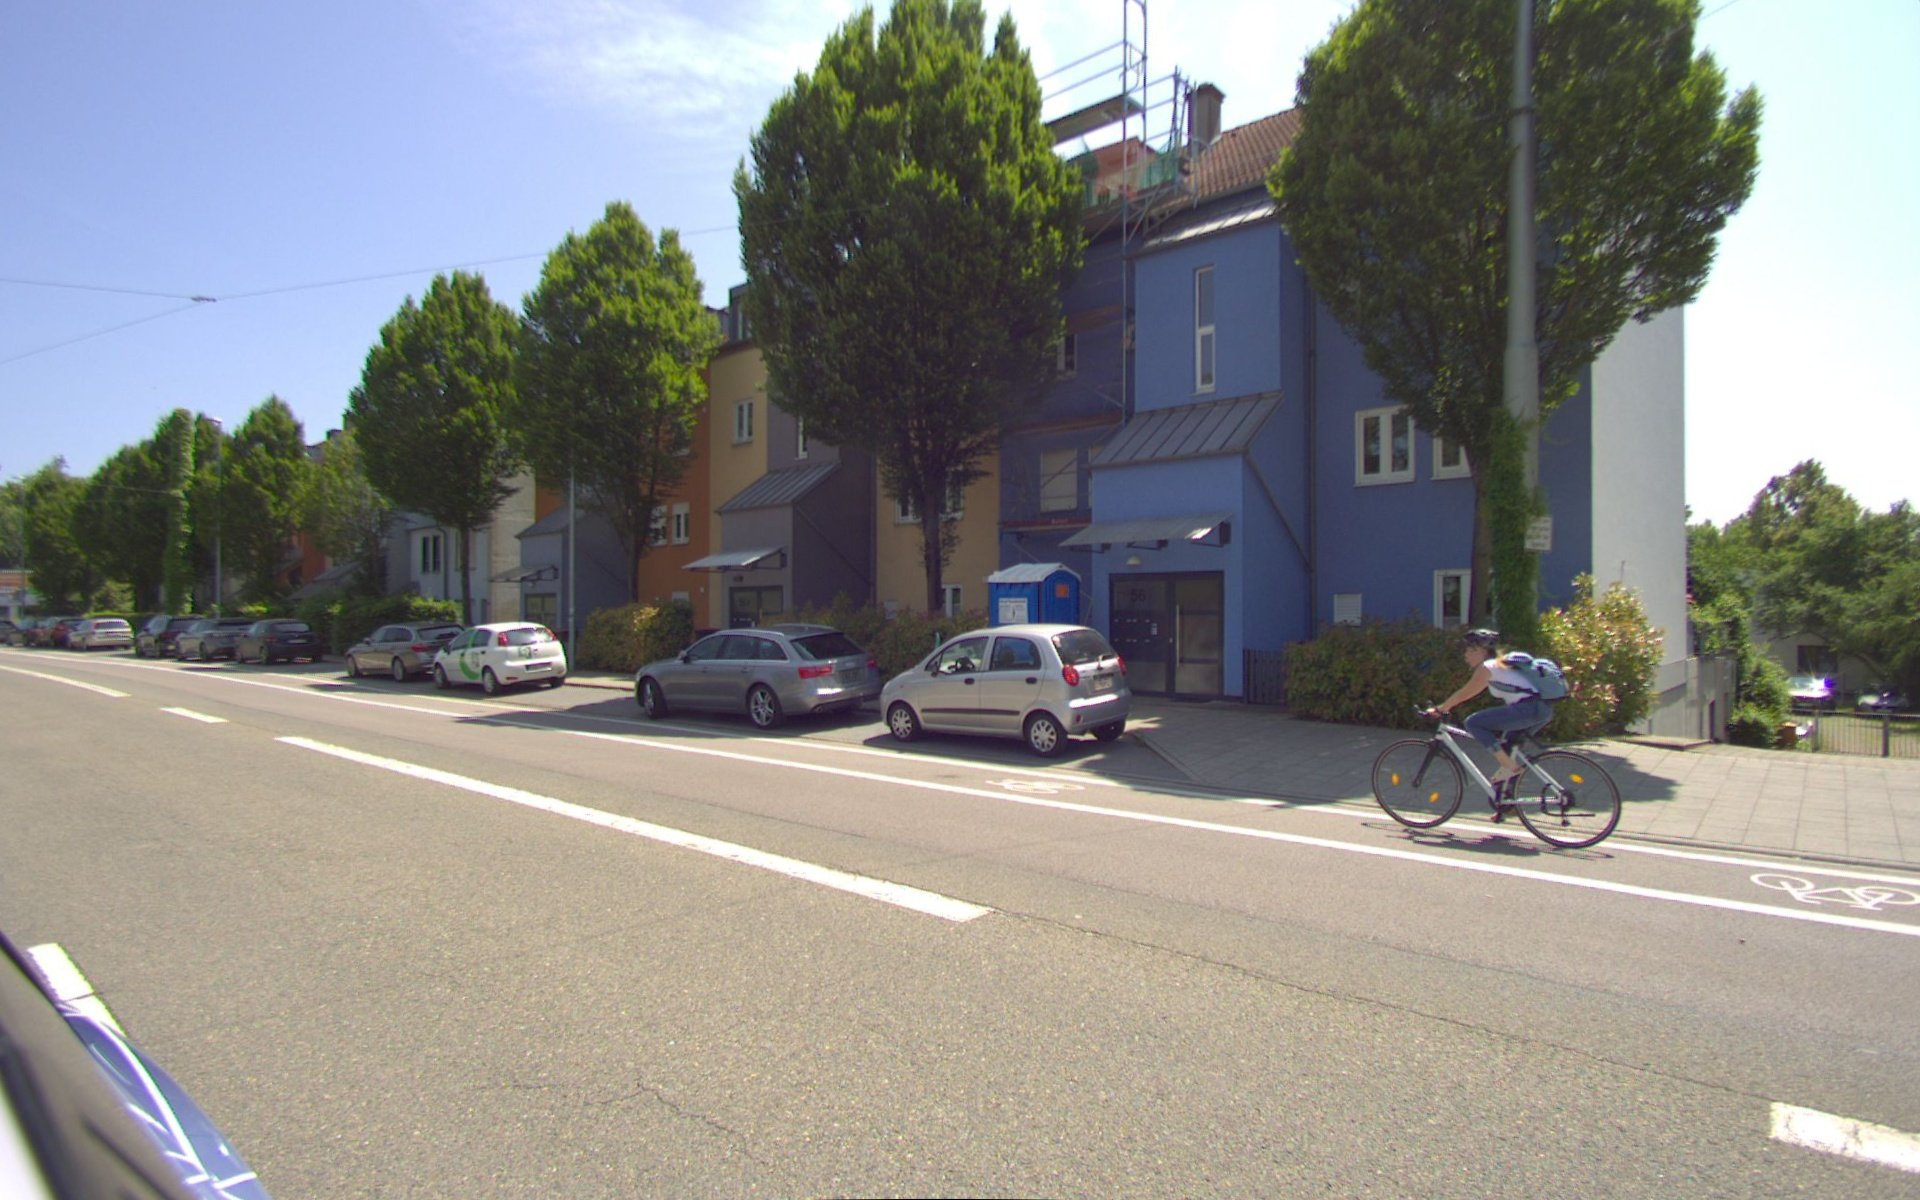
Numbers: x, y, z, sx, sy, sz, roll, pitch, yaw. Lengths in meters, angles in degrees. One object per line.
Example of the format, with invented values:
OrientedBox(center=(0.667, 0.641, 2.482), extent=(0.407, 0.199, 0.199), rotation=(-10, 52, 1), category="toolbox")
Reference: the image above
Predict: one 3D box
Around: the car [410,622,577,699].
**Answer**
OrientedBox(center=(-10.745, 1.312, 23.179), extent=(4.418, 1.453, 1.728), rotation=(-1, 3, 41), category="car")

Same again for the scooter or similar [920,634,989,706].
OrientedBox(center=(-0.099, 1.159, 17.061), extent=(1.183, 1.154, 0.449), rotation=(-1, -2, 43), category="scooter or similar")

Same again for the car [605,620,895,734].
OrientedBox(center=(-3.549, 1.159, 16.427), extent=(5.129, 1.461, 1.769), rotation=(-2, 2, 40), category="car")

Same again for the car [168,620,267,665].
OrientedBox(center=(-27.365, 1.532, 37.263), extent=(4.752, 1.507, 1.807), rotation=(-1, 0, 39), category="car")

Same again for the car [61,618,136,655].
OrientedBox(center=(-40.805, 1.713, 47.900), extent=(4.490, 1.594, 1.822), rotation=(-1, 0, 38), category="car")

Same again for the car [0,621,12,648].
OrientedBox(center=(-57.292, 2.063, 59.291), extent=(4.135, 1.549, 1.848), rotation=(-2, 0, 36), category="car")

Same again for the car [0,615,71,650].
OrientedBox(center=(-49.799, 1.711, 54.445), extent=(4.549, 1.808, 1.976), rotation=(-1, -1, 36), category="car")

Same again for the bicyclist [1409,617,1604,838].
OrientedBox(center=(3.920, 0.865, 7.275), extent=(1.123, 1.442, 0.728), rotation=(-1, -5, 38), category="bicyclist")

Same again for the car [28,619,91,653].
OrientedBox(center=(-45.650, 1.816, 51.286), extent=(3.673, 1.606, 1.586), rotation=(-2, 0, 35), category="car")

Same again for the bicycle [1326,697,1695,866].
OrientedBox(center=(3.880, 1.221, 7.286), extent=(2.240, 0.958, 0.695), rotation=(-2, -4, 39), category="bicycle")

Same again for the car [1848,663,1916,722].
OrientedBox(center=(39.184, 3.871, 43.079), extent=(1.999, 2.029, 3.946), rotation=(0, 1, 41), category="car")

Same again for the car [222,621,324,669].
OrientedBox(center=(-23.153, 1.457, 34.058), extent=(4.254, 1.443, 1.732), rotation=(-1, 1, 40), category="car")

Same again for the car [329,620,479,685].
OrientedBox(center=(-14.814, 1.338, 26.838), extent=(4.744, 1.440, 1.688), rotation=(-1, 3, 38), category="car")

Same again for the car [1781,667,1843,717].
OrientedBox(center=(37.696, 4.015, 44.784), extent=(1.999, 1.730, 3.946), rotation=(0, 1, 41), category="car")

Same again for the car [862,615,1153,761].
OrientedBox(center=(0.535, 1.019, 12.991), extent=(3.447, 1.506, 1.577), rotation=(-1, 3, 41), category="car")

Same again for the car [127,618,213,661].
OrientedBox(center=(-31.934, 1.583, 40.869), extent=(4.142, 1.601, 1.750), rotation=(-1, 0, 38), category="car")
